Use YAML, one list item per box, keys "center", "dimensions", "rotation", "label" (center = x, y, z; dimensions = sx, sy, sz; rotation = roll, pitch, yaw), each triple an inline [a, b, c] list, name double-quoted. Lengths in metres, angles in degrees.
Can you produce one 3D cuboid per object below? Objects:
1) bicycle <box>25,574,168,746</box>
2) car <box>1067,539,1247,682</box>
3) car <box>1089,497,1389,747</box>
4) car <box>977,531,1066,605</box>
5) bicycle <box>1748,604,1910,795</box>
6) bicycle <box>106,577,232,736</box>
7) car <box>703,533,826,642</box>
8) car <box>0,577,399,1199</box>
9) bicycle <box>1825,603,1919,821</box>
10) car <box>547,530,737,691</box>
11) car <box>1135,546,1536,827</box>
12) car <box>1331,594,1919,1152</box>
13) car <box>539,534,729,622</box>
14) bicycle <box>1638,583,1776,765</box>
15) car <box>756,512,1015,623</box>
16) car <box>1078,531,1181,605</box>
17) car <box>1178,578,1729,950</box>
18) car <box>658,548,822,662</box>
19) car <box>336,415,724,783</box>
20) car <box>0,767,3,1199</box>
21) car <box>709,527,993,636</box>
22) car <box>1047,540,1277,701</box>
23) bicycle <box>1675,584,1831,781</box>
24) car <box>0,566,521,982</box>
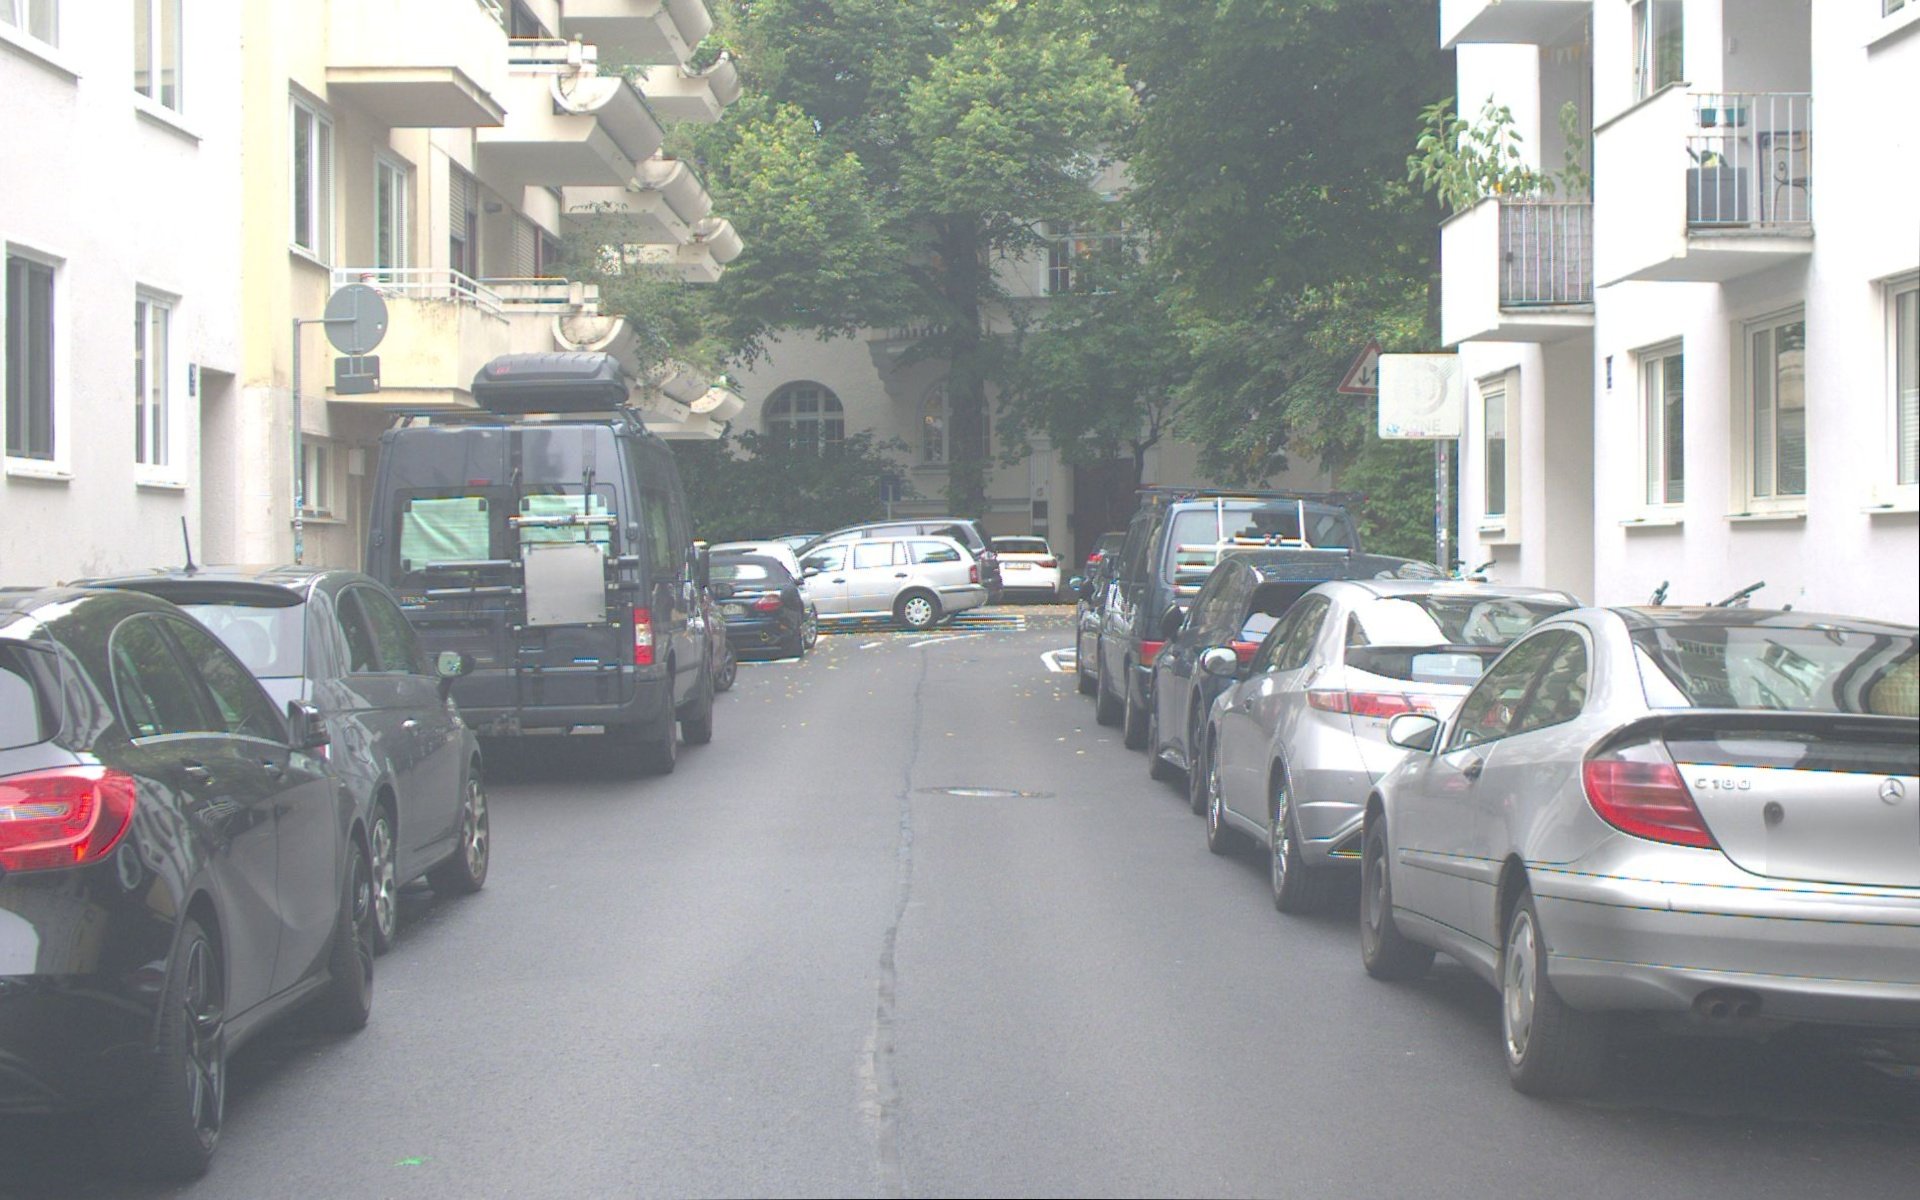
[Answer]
- center: [-5.805, 0.379, 23.183]
  dimensions: [0.463, 1.094, 1.870]
  rotation: [0, 1, 1]
  label: "bicycle"
- center: [2.077, 0.073, 37.161]
  dimensions: [1.743, 1.436, 4.000]
  rotation: [-1, 1, 0]
  label: "car"
- center: [2.090, 0.126, 27.012]
  dimensions: [1.874, 1.785, 4.782]
  rotation: [0, 1, -1]
  label: "car"
- center: [1.273, -0.672, 69.911]
  dimensions: [1.718, 1.426, 4.000]
  rotation: [0, 1, 2]
  label: "car"
- center: [4.891, 0.541, 19.411]
  dimensions: [0.477, 0.999, 1.552]
  rotation: [1, 1, -1]
  label: "bicycle"
- center: [-5.755, 0.394, 25.081]
  dimensions: [0.463, 1.094, 1.870]
  rotation: [0, 1, 1]
  label: "bicycle"
- center: [-2.723, -0.209, 48.391]
  dimensions: [1.560, 1.416, 3.834]
  rotation: [-2, 1, -1]
  label: "car"
- center: [-2.730, 0.660, 9.632]
  dimensions: [1.800, 1.412, 4.227]
  rotation: [0, 1, -3]
  label: "car"
- center: [4.937, 0.559, 17.832]
  dimensions: [0.477, 1.044, 1.522]
  rotation: [0, 1, -1]
  label: "bicycle"
- center: [-3.106, 0.064, 34.136]
  dimensions: [1.619, 1.491, 3.709]
  rotation: [-1, 1, -1]
  label: "car"
- center: [2.201, 0.450, 21.371]
  dimensions: [1.905, 1.548, 4.625]
  rotation: [0, 1, -1]
  label: "car"
- center: [2.380, 0.719, 11.221]
  dimensions: [1.734, 1.424, 4.203]
  rotation: [0, 1, -2]
  label: "car"
- center: [-6.114, -0.418, 64.435]
  dimensions: [3.287, 1.625, 1.510]
  rotation: [0, 1, -19]
  label: "car"
- center: [4.970, 0.474, 22.946]
  dimensions: [0.570, 1.147, 1.431]
  rotation: [0, 1, -1]
  label: "bicycle"
- center: [-1.266, -0.557, 57.925]
  dimensions: [4.219, 1.678, 1.903]
  rotation: [-2, 1, -2]
  label: "car"
- center: [3.431, -0.662, 68.894]
  dimensions: [1.792, 1.426, 3.999]
  rotation: [1, 1, 7]
  label: "car"
- center: [2.168, 0.665, 16.288]
  dimensions: [1.759, 1.426, 4.262]
  rotation: [3, 1, -3]
  label: "car"
- center: [-2.732, 0.021, 43.557]
  dimensions: [1.797, 1.273, 4.617]
  rotation: [-2, 1, -1]
  label: "car"
- center: [-2.909, -0.041, 24.481]
  dimensions: [2.018, 2.271, 5.391]
  rotation: [-2, 1, 0]
  label: "car"
- center: [-2.822, 0.739, 4.428]
  dimensions: [1.912, 1.432, 4.809]
  rotation: [0, 1, -1]
  label: "car"
- center: [-1.655, -0.296, 52.677]
  dimensions: [4.227, 1.450, 1.721]
  rotation: [-3, 1, -1]
  label: "car"
- center: [1.852, 0.147, 32.639]
  dimensions: [1.833, 1.414, 4.059]
  rotation: [-1, 1, -1]
  label: "car"
- center: [4.911, 0.490, 21.371]
  dimensions: [0.570, 1.147, 1.563]
  rotation: [0, 1, -1]
  label: "bicycle"
- center: [-2.937, 0.620, 14.354]
  dimensions: [1.611, 1.441, 3.743]
  rotation: [-3, 1, 1]
  label: "car"
